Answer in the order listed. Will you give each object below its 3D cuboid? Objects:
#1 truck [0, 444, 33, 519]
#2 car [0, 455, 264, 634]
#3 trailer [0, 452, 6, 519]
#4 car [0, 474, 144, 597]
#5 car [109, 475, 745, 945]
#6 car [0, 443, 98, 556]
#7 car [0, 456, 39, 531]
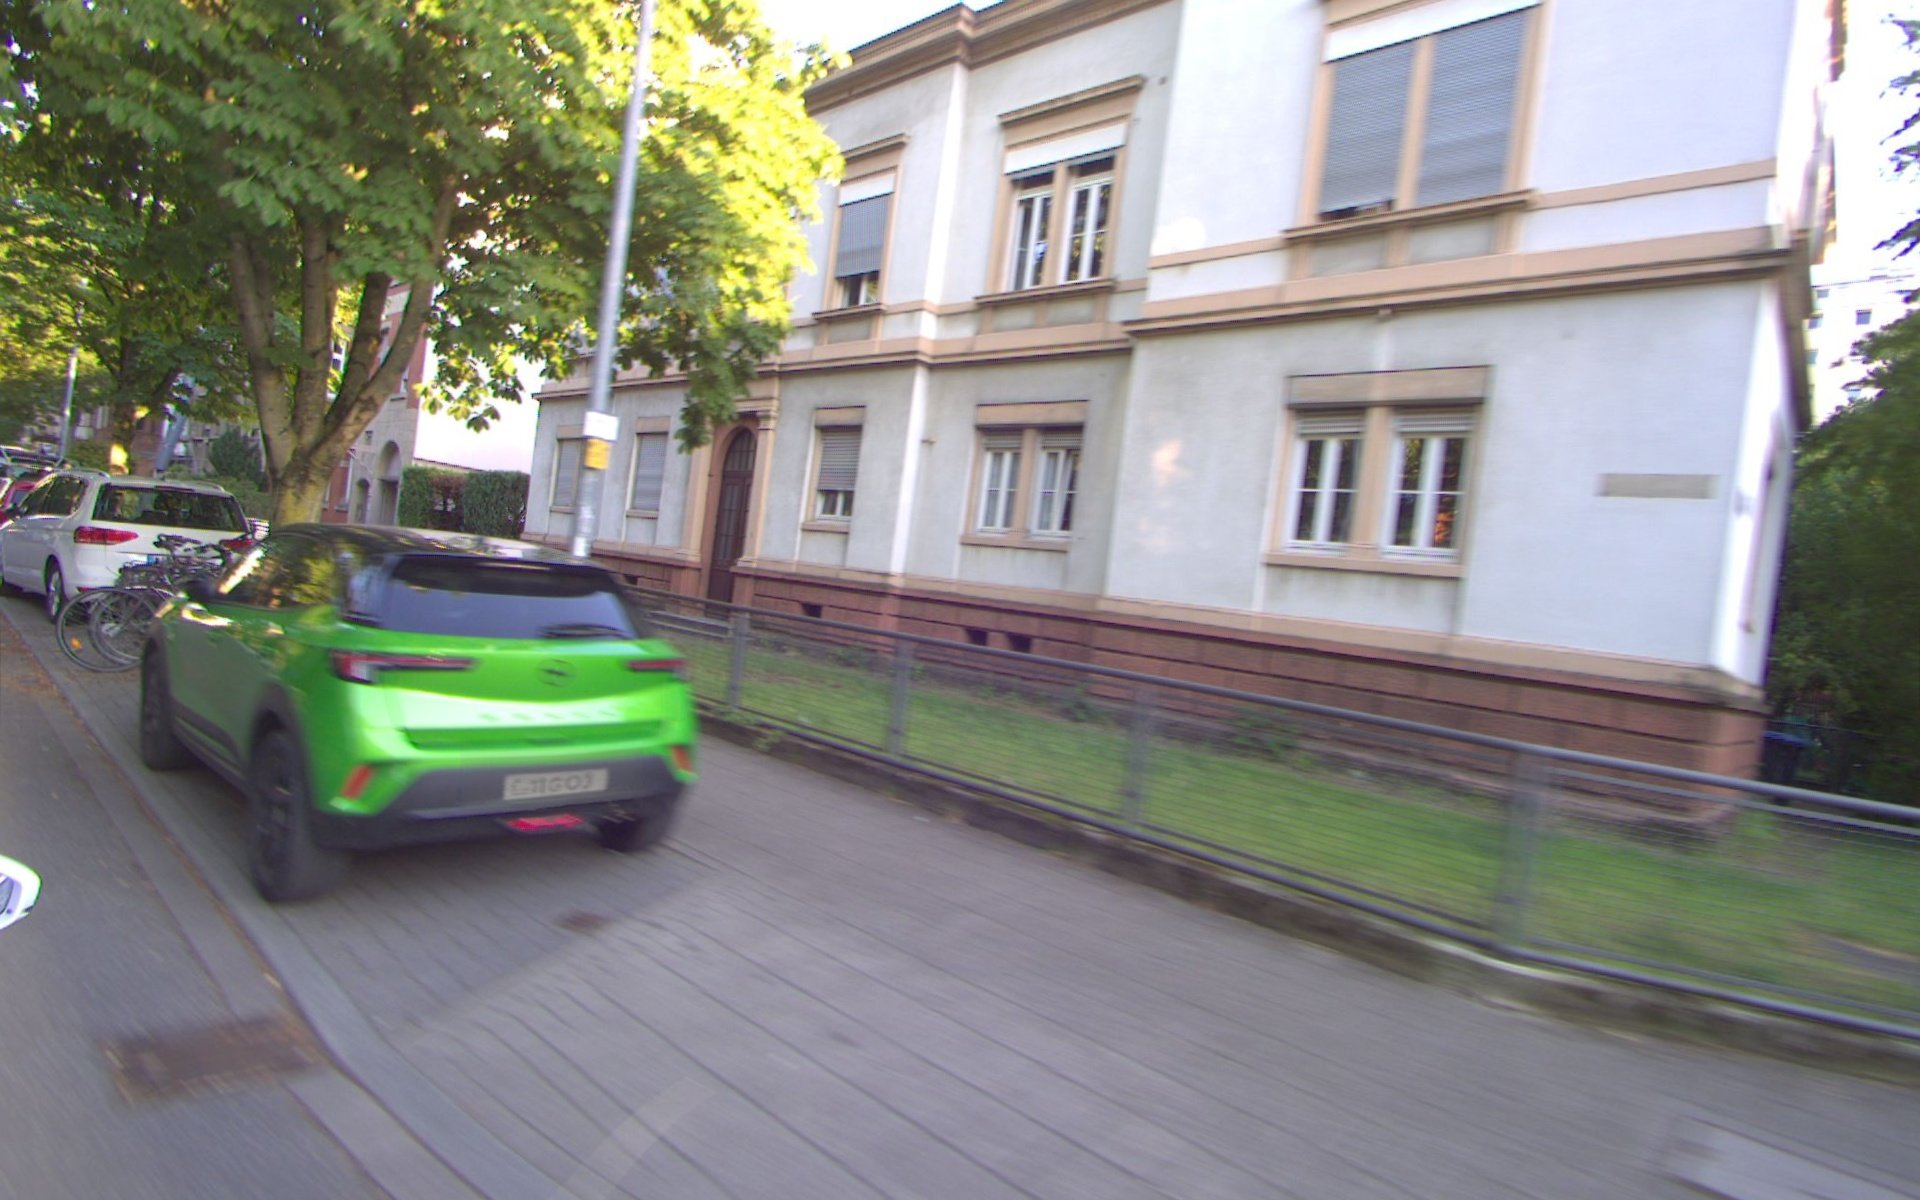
[{"bbox_3d":[-32.188,-4.035,33.078,4.578,2.276,1.950,8,3,41],"label":"truck"},{"bbox_3d":[-10.120,-0.717,12.030,4.055,1.701,1.663,8,3,36],"label":"car"},{"bbox_3d":[-36.264,-4.331,36.539,4.580,2.326,1.949,8,3,42],"label":"trailer"},{"bbox_3d":[-13.711,-1.036,15.066,3.641,1.520,1.661,8,3,41],"label":"car"},{"bbox_3d":[-3.124,0.282,5.489,3.906,1.578,1.727,8,3,41],"label":"car"},{"bbox_3d":[-20.135,-2.239,21.461,4.762,2.086,1.949,8,3,41],"label":"car"},{"bbox_3d":[-27.861,-3.178,28.682,4.548,1.968,1.835,8,3,41],"label":"car"}]
